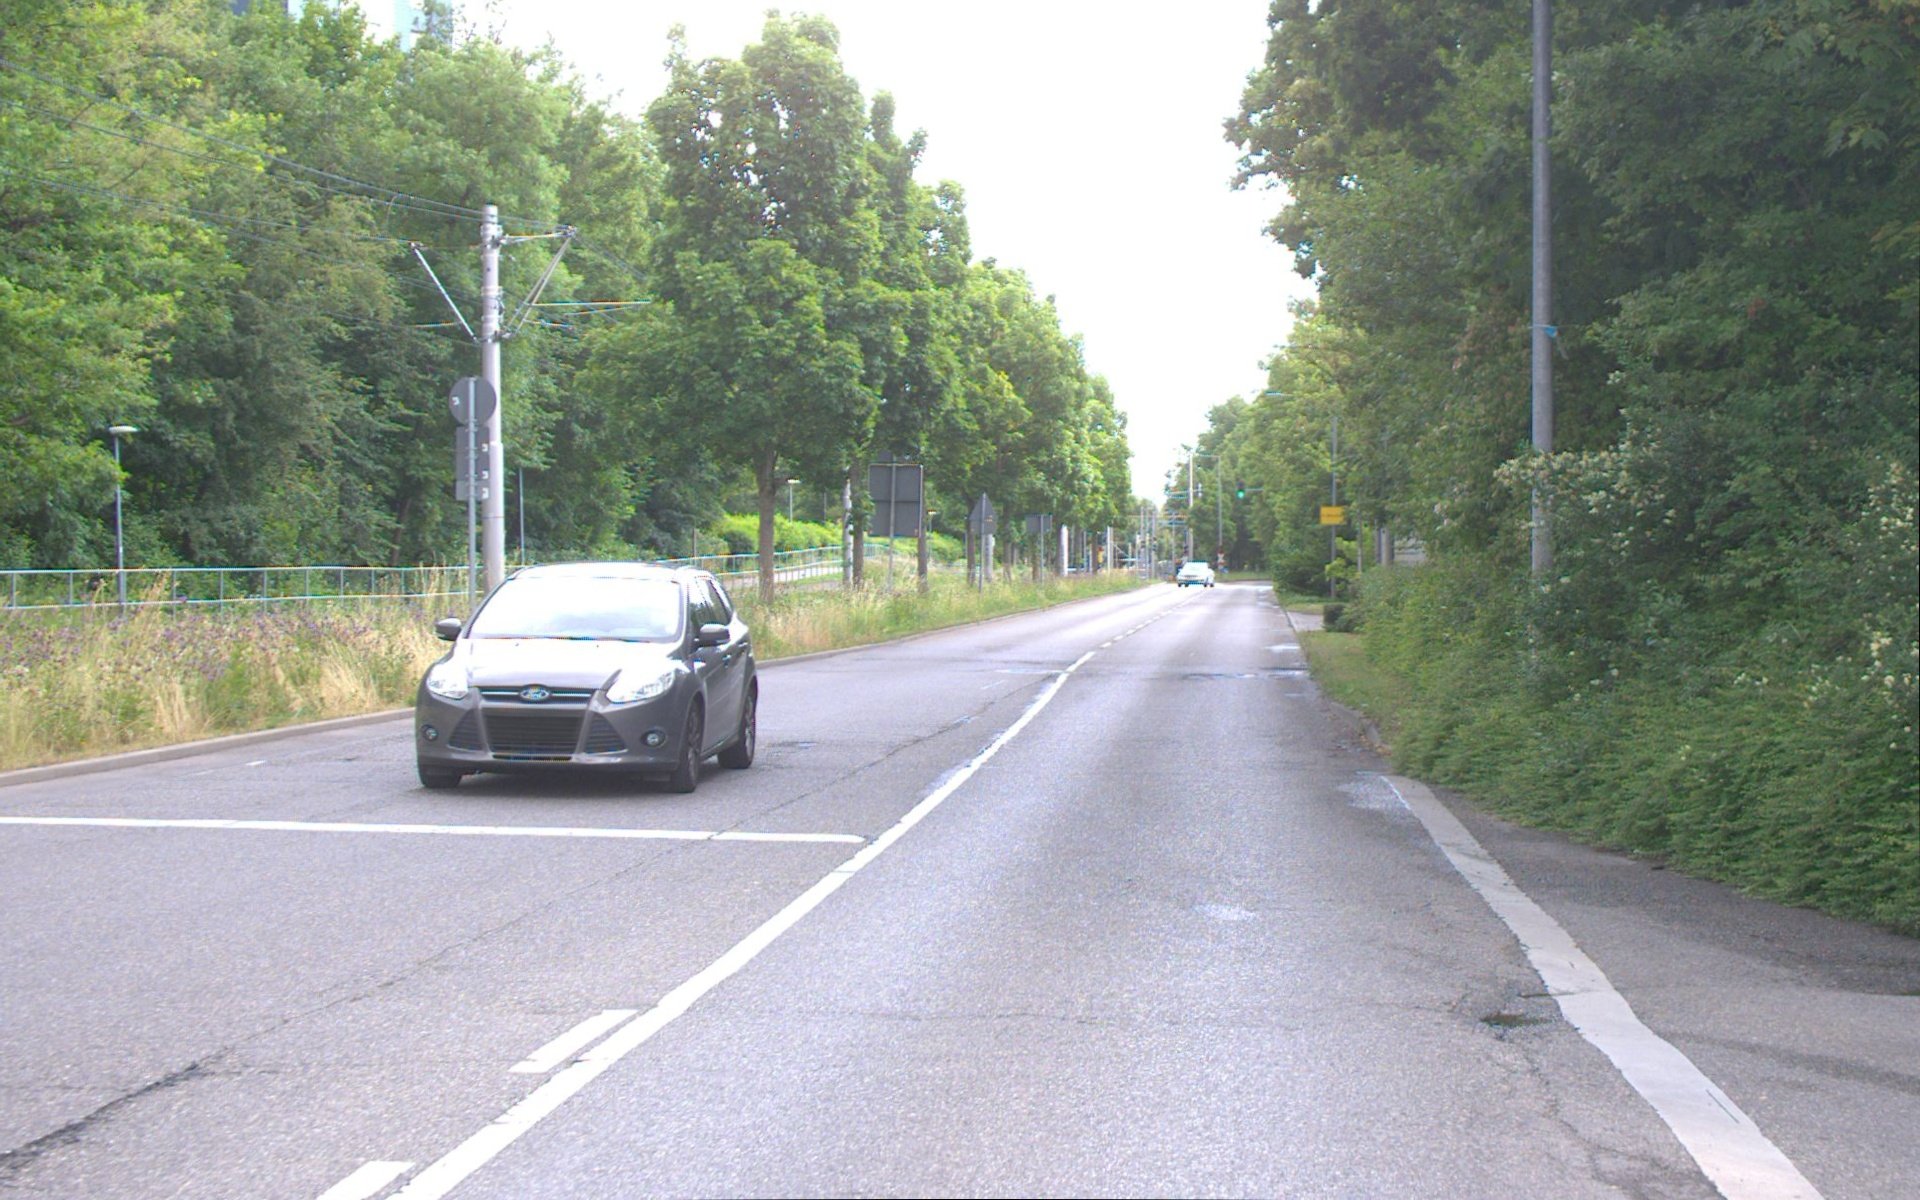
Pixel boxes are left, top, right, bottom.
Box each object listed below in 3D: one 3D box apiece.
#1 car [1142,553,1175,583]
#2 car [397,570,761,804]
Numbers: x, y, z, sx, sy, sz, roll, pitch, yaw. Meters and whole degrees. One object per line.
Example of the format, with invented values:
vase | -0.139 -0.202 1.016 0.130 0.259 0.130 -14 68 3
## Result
car | 11.820 -1.936 204.698 1.716 1.624 3.999 -5 0 4
car | -2.481 0.515 23.415 1.755 1.430 4.428 0 1 3
